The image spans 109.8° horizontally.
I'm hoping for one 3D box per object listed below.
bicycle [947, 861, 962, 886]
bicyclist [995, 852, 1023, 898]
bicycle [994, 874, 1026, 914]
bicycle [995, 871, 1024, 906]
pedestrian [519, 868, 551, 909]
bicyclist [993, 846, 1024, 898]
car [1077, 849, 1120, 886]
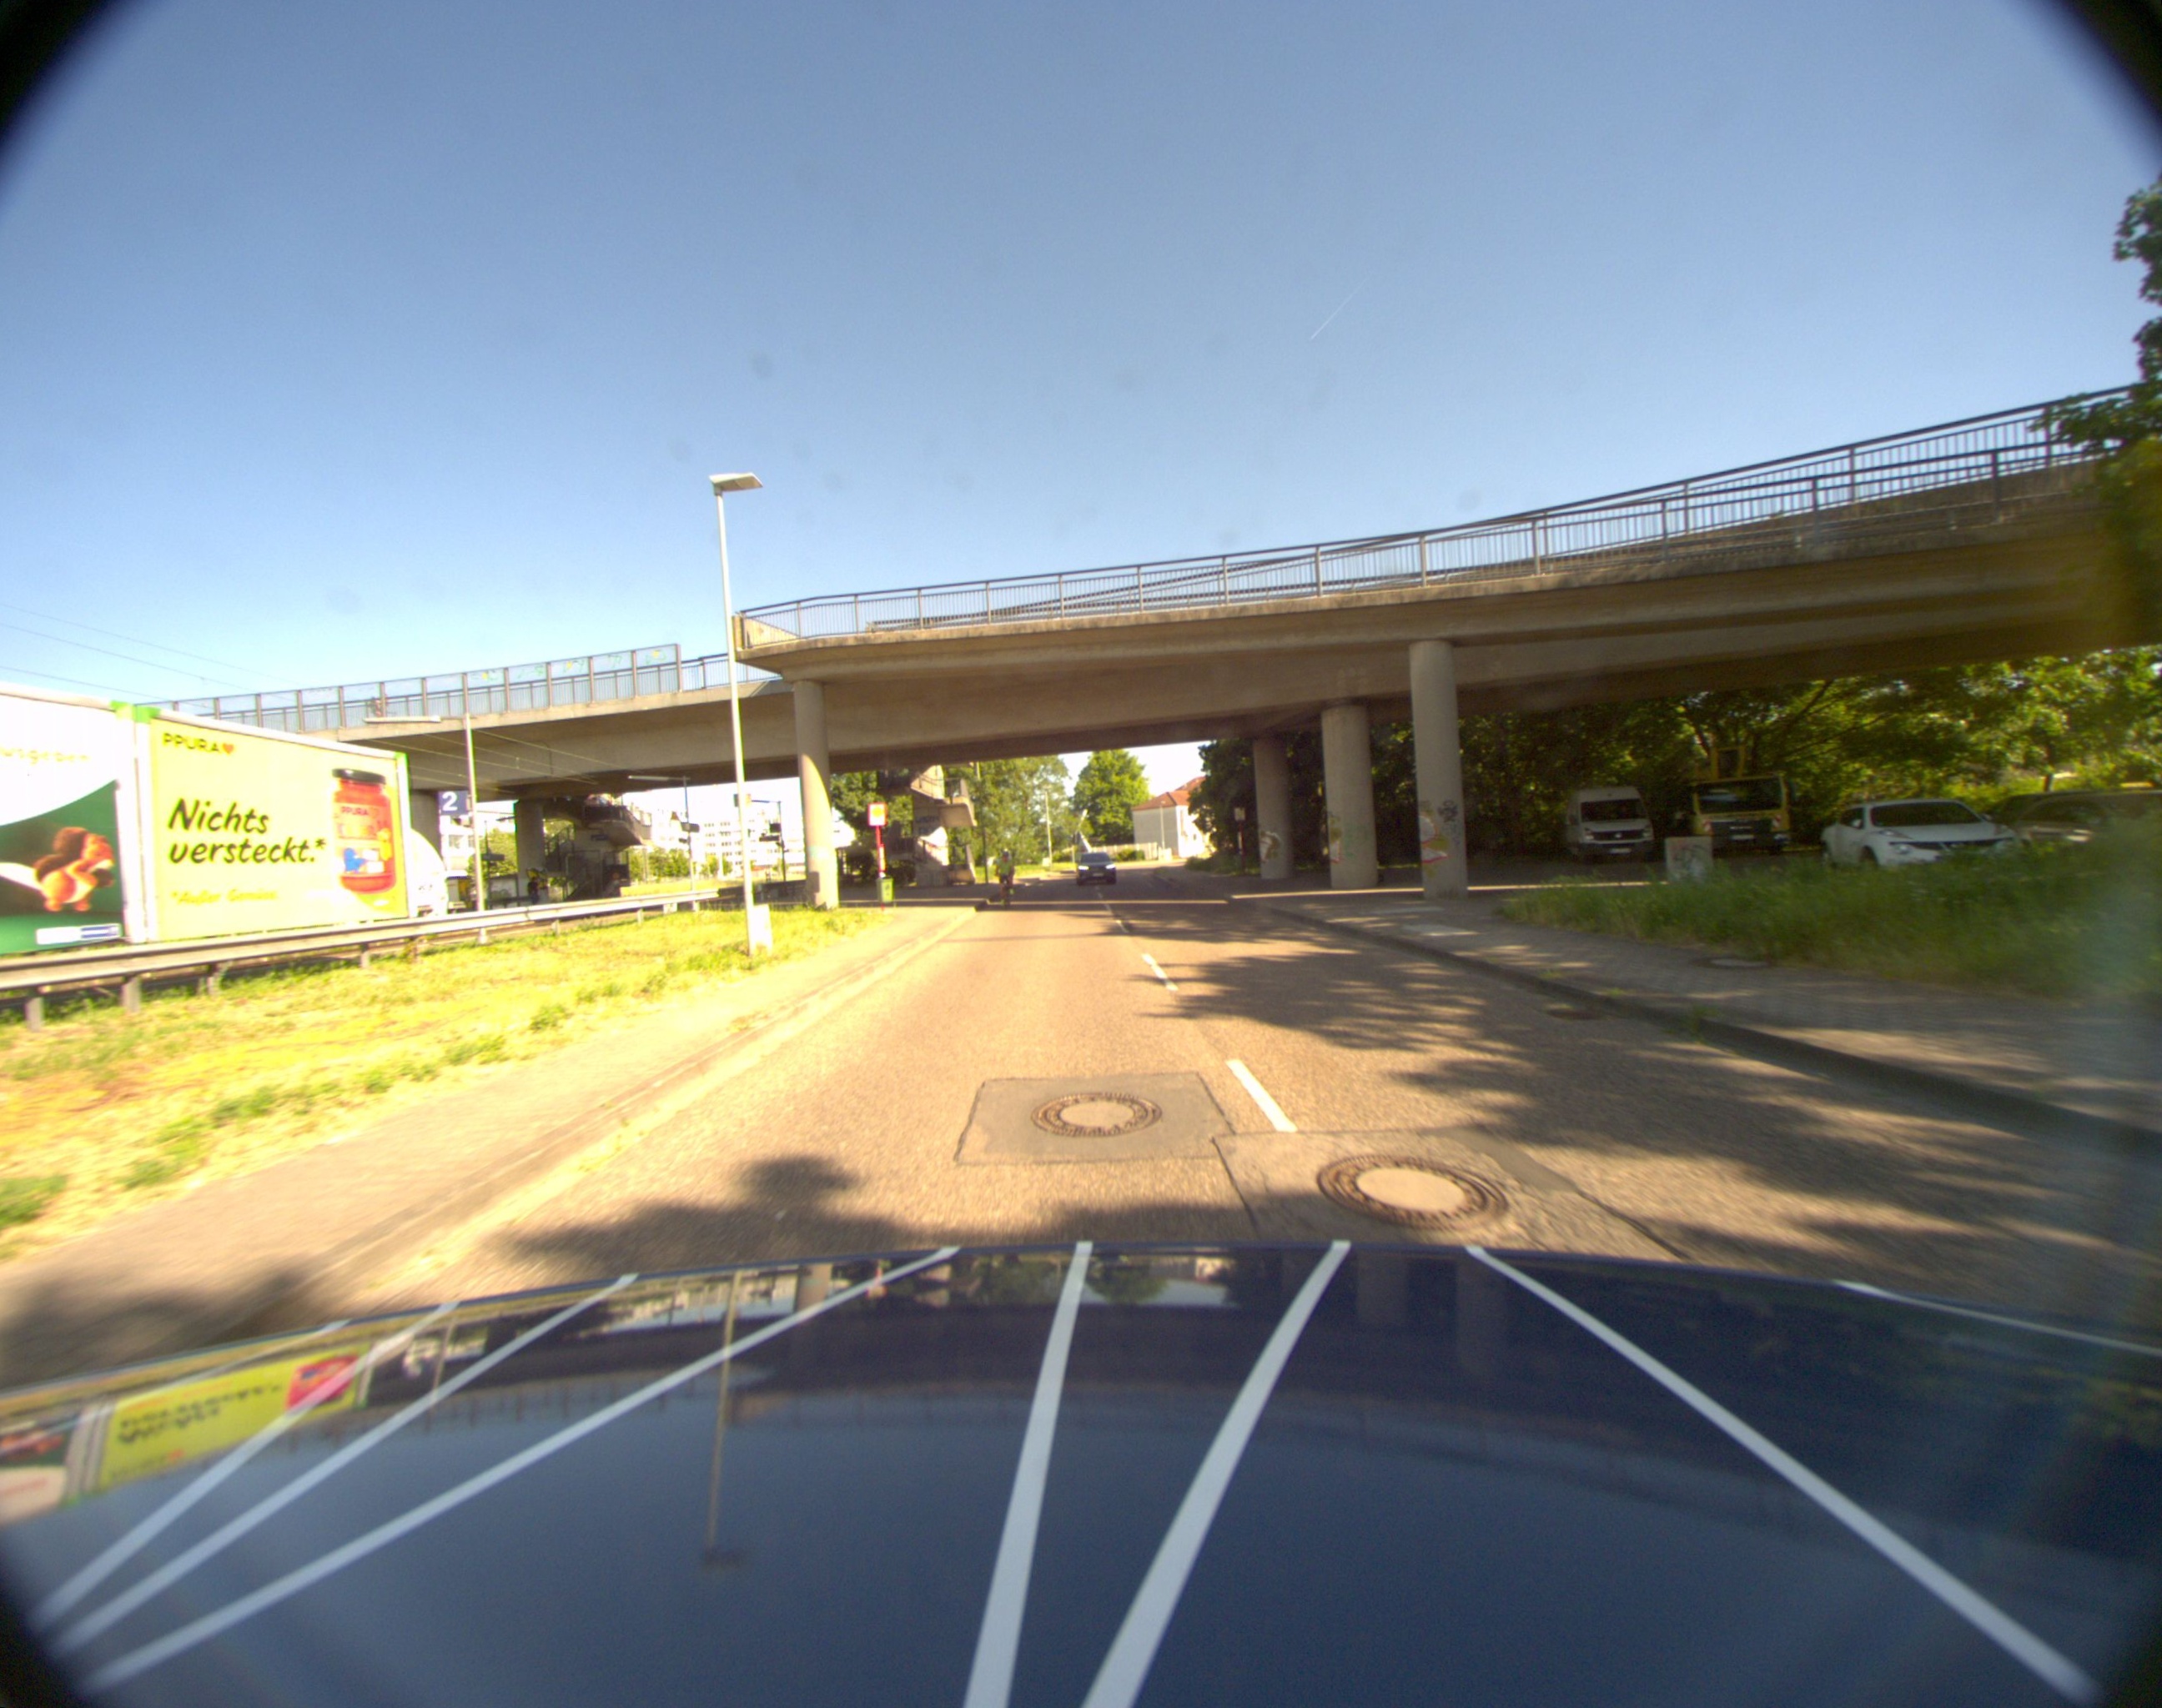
[{"bbox_3d":[-6.525,0.980,39.234,0.599,1.175,2.180,-3,1,-6],"label":"bicycle"},{"bbox_3d":[-2.442,0.704,25.913,0.843,1.480,0.923,-3,1,-3],"label":"bicyclist"},{"bbox_3d":[-2.132,1.163,22.667,0.843,1.045,2.188,-3,0,-6],"label":"bicycle"},{"bbox_3d":[-2.419,1.146,25.955,0.843,1.045,2.189,-3,0,-3],"label":"bicycle"},{"bbox_3d":[-27.586,1.718,38.404,0.895,2.002,0.835,-3,1,-4],"label":"pedestrian"},{"bbox_3d":[-2.166,0.521,22.674,0.843,1.480,0.923,-3,1,-6],"label":"bicyclist"},{"bbox_3d":[0.808,0.629,37.597,1.850,1.621,4.294,-3,0,-2],"label":"car"}]
